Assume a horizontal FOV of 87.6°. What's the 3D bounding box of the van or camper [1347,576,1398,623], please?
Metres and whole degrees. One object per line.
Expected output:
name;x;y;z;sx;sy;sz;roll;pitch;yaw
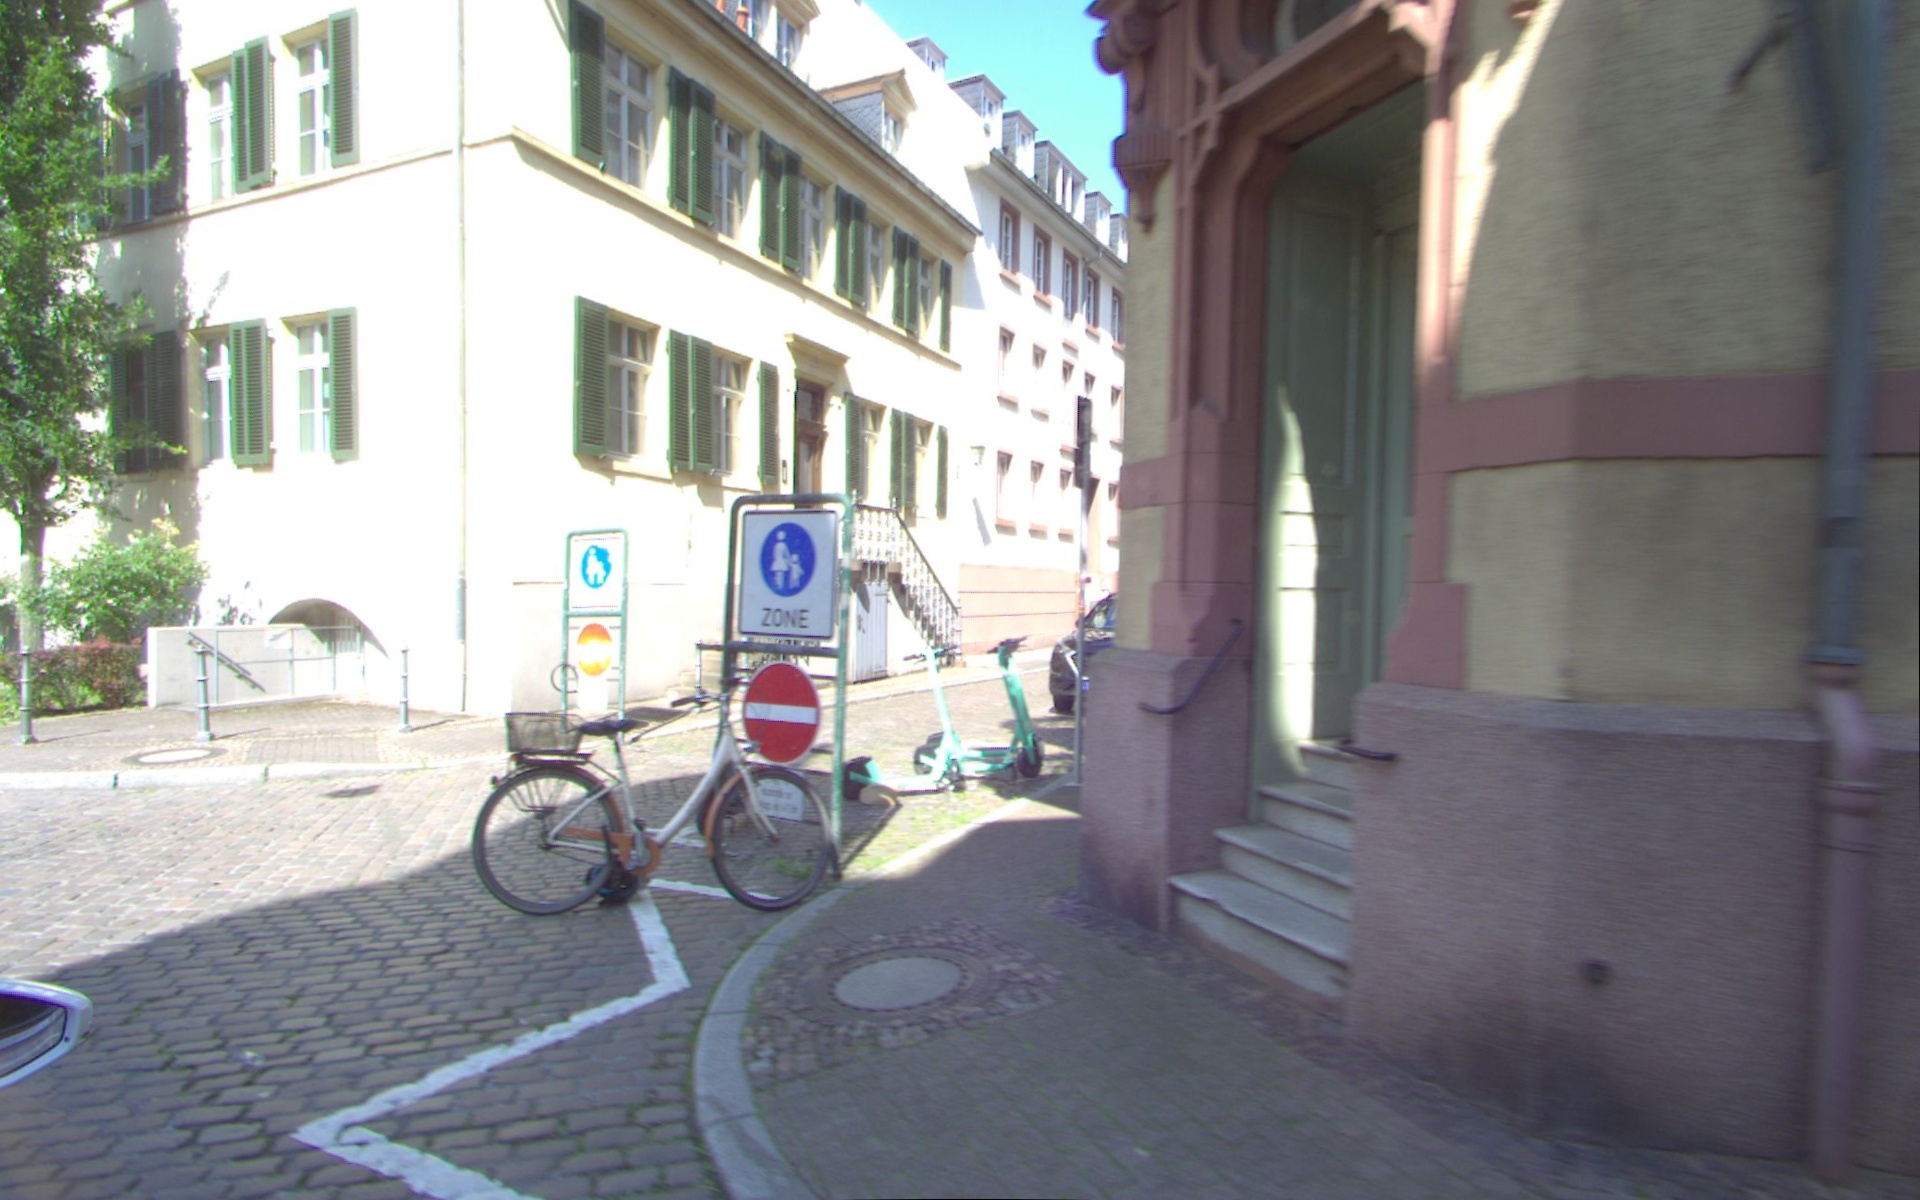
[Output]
van or camper;21.786;-0.022;52.754;2.150;2.352;5.342;1;1;26

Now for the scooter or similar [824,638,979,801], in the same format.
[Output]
scooter or similar;-0.464;0.921;7.954;1.170;1.226;0.341;0;2;-21

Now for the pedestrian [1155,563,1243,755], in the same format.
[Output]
pedestrian;2.369;0.563;9.872;0.613;1.781;0.978;-2;-1;25

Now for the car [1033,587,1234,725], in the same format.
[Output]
car;2.622;0.673;14.326;1.966;1.664;3.988;1;1;23

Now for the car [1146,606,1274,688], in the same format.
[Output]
car;4.858;0.859;19.183;1.685;1.376;3.322;-3;-1;26

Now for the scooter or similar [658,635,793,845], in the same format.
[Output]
scooter or similar;-1.573;0.895;6.872;0.434;1.252;1.189;1;1;12

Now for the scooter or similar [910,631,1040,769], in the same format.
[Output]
scooter or similar;0.134;0.918;9.314;1.167;1.226;0.342;1;2;1

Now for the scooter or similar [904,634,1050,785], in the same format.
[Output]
scooter or similar;0.159;0.928;8.677;1.211;1.226;0.413;1;2;7

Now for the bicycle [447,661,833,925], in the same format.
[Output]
bicycle;-1.534;0.917;5.021;1.760;1.162;0.505;0;2;-11
